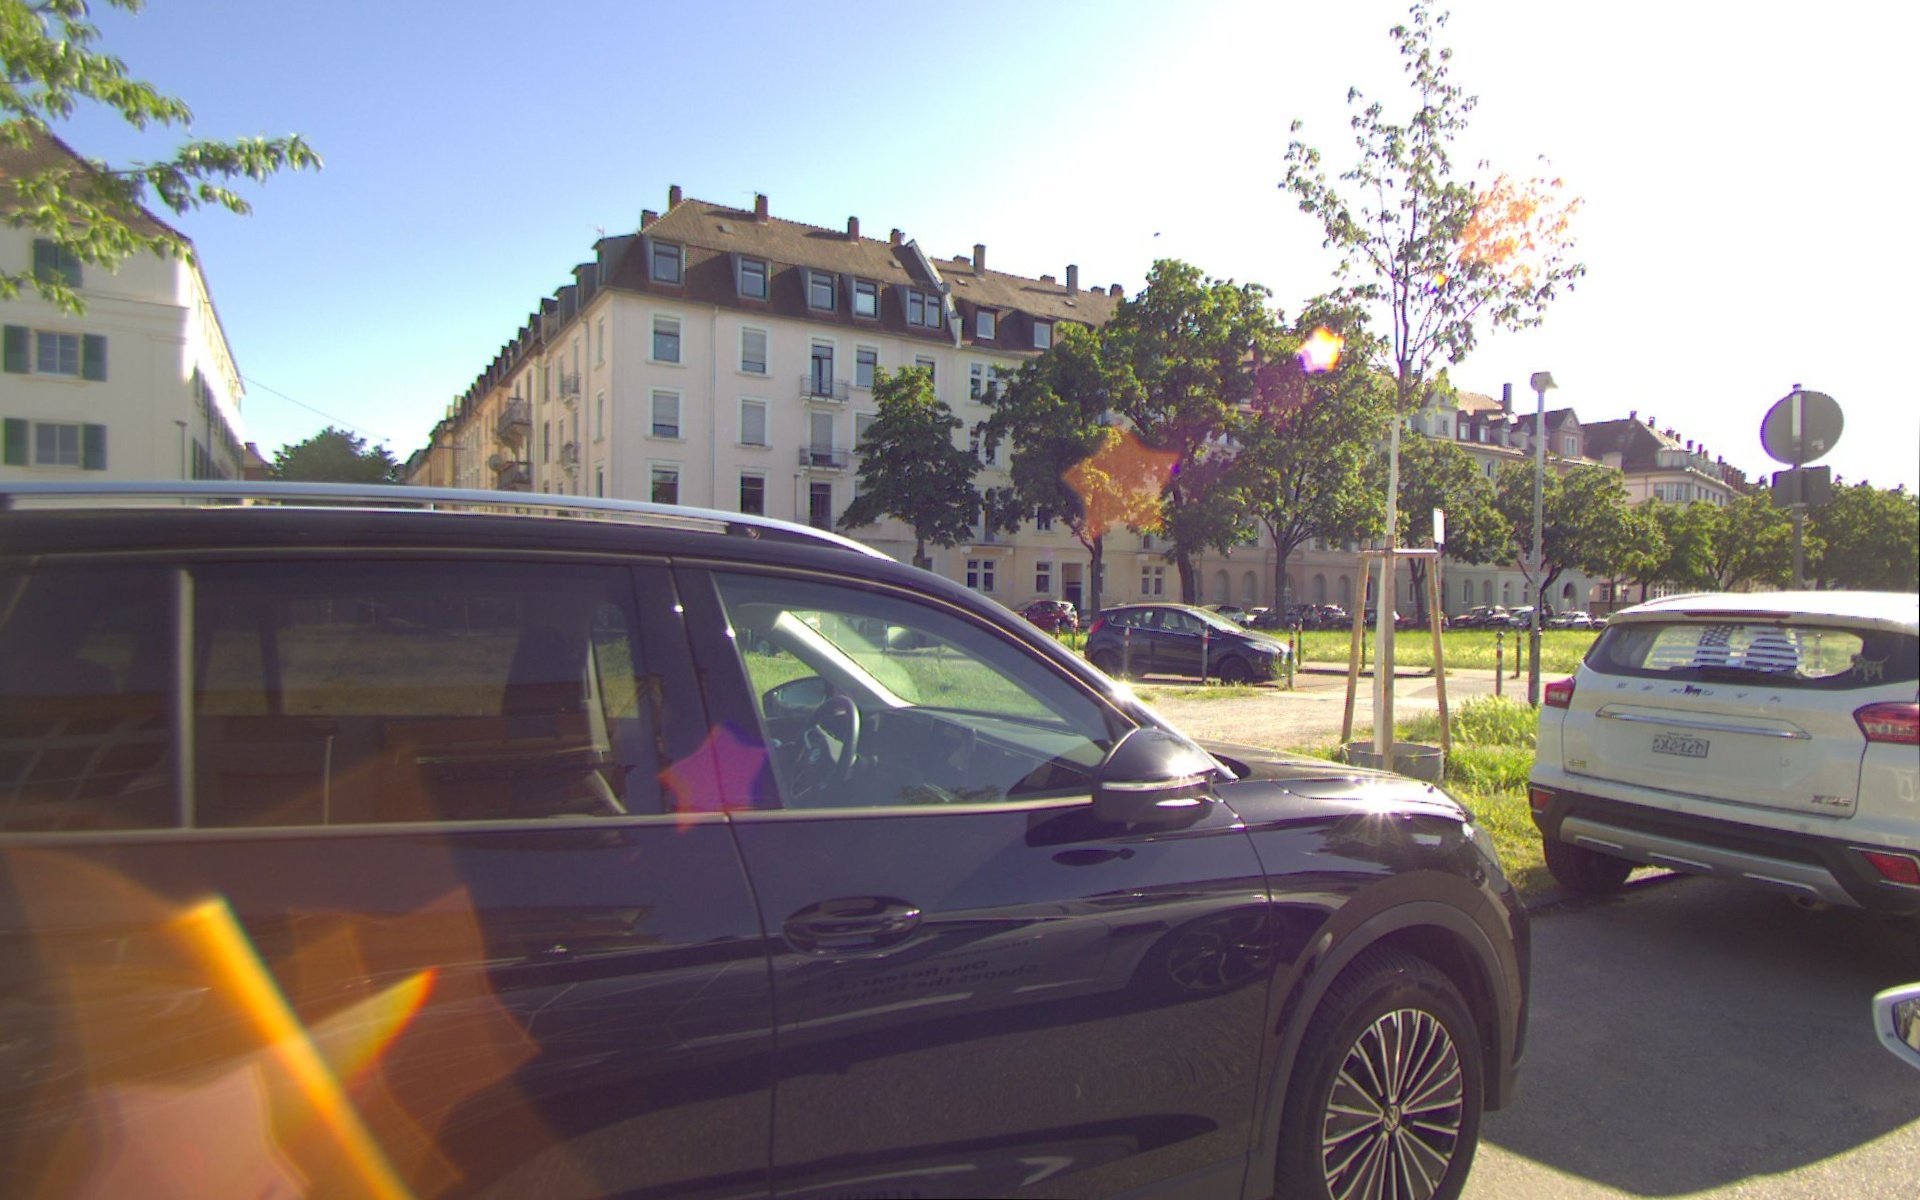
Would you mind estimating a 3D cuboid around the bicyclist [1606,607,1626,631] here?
[{"bbox_3d":[41.662,1.216,63.770,0.932,1.457,0.734,1,1,-31],"label":"bicyclist"}]

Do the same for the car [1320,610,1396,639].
[{"bbox_3d":[22.430,1.365,56.581,4.479,1.570,1.746,1,0,-33],"label":"car"}]

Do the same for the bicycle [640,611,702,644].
[{"bbox_3d":[-11.601,1.110,40.362,2.232,1.279,0.837,1,1,-31],"label":"bicycle"}]

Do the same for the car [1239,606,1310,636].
[{"bbox_3d":[19.108,1.294,60.994,3.950,1.724,1.838,1,0,-28],"label":"car"}]

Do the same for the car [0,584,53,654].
[{"bbox_3d":[-27.355,0.468,26.569,4.653,1.845,2.146,1,0,-32],"label":"car"}]

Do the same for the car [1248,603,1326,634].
[{"bbox_3d":[17.332,0.973,53.202,4.308,1.570,1.622,1,0,-33],"label":"car"}]

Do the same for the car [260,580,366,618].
[{"bbox_3d":[-30.978,-0.032,48.216,4.197,1.724,1.691,1,0,-33],"label":"car"}]

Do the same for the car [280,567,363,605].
[{"bbox_3d":[-45.299,-0.975,71.294,4.906,2.553,1.937,1,0,-35],"label":"car"}]

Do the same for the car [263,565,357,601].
[{"bbox_3d":[-29.908,-0.766,46.249,3.579,1.541,1.692,1,0,-35],"label":"car"}]

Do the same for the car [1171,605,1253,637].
[{"bbox_3d":[12.716,1.056,50.632,4.037,1.547,1.684,1,0,-33],"label":"car"}]

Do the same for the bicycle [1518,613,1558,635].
[{"bbox_3d":[34.466,1.428,59.911,2.602,1.269,0.806,2,0,-29],"label":"bicycle"}]

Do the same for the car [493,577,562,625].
[{"bbox_3d":[-19.634,0.006,45.493,2.118,2.040,4.534,1,1,-33],"label":"car"}]

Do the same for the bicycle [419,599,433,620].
[{"bbox_3d":[-28.139,0.492,52.939,0.524,1.030,1.473,1,1,-33],"label":"bicycle"}]

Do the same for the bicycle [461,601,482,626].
[{"bbox_3d":[-21.703,0.600,44.593,0.651,1.030,1.964,1,1,-32],"label":"bicycle"}]

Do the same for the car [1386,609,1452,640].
[{"bbox_3d":[27.144,1.448,59.391,4.037,1.709,1.622,1,0,-33],"label":"car"}]

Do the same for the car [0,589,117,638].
[{"bbox_3d":[-29.795,0.420,31.474,4.902,1.504,1.983,1,0,-31],"label":"car"}]

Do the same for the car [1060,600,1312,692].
[{"bbox_3d":[4.222,0.784,19.040,4.277,1.428,1.913,1,2,36],"label":"car"}]

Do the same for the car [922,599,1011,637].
[{"bbox_3d":[0.331,0.879,49.885,4.006,1.775,1.984,1,0,-30],"label":"car"}]

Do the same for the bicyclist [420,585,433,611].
[{"bbox_3d":[-28.175,-0.095,53.012,0.528,1.382,0.778,1,1,-33],"label":"bicyclist"}]

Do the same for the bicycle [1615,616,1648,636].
[{"bbox_3d":[44.361,1.705,66.376,2.605,1.269,0.805,1,1,-32],"label":"bicycle"}]

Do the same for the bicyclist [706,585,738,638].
[{"bbox_3d":[-7.735,0.360,32.657,0.866,1.713,0.629,1,0,40],"label":"bicyclist"}]

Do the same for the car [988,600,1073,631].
[{"bbox_3d":[3.139,0.673,44.745,3.488,1.296,1.684,1,0,-33],"label":"car"}]

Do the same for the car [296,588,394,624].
[{"bbox_3d":[-27.233,0.255,44.584,3.626,1.541,1.698,1,0,-32],"label":"car"}]

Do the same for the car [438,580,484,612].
[{"bbox_3d":[-32.852,-0.283,66.071,2.131,2.010,4.865,1,1,-33],"label":"car"}]

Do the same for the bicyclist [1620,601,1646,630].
[{"bbox_3d":[44.482,1.020,66.392,1.433,1.862,0.936,2,-1,-32],"label":"bicyclist"}]

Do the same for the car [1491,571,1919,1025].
[{"bbox_3d":[4.993,0.770,5.455,4.235,1.669,1.748,1,-1,-30],"label":"car"}]

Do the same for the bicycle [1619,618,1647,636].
[{"bbox_3d":[42.146,1.654,62.935,1.934,1.093,0.728,1,1,-32],"label":"bicycle"}]

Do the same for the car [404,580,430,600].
[{"bbox_3d":[-50.508,-0.921,93.371,1.933,1.731,4.130,1,0,-30],"label":"car"}]

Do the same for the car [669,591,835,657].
[{"bbox_3d":[-5.533,0.576,26.517,4.277,1.597,1.922,1,0,36],"label":"car"}]

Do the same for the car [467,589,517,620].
[{"bbox_3d":[-25.372,0.226,54.409,1.918,1.590,3.846,1,1,-34],"label":"car"}]

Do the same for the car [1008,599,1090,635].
[{"bbox_3d":[4.648,0.901,52.440,3.955,1.781,1.853,1,0,-32],"label":"car"}]

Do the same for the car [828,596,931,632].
[{"bbox_3d":[-3.750,0.641,47.154,4.407,1.608,1.981,1,0,-35],"label":"car"}]

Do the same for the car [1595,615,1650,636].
[{"bbox_3d":[47.402,1.828,71.888,3.730,1.459,1.837,1,0,-30],"label":"car"}]

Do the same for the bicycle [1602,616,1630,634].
[{"bbox_3d":[41.590,1.594,63.702,1.934,1.093,0.728,1,1,-32],"label":"bicycle"}]

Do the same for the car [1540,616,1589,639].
[{"bbox_3d":[40.671,1.826,67.623,3.301,1.459,1.374,1,0,-30],"label":"car"}]

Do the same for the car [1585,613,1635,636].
[{"bbox_3d":[52.875,1.978,81.685,3.955,1.772,1.850,1,0,-32],"label":"car"}]

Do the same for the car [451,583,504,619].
[{"bbox_3d":[-28.157,0.007,58.543,1.980,2.000,5.003,1,1,-35],"label":"car"}]

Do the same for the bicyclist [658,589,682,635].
[{"bbox_3d":[-11.643,0.478,40.317,0.792,1.827,0.669,1,1,-31],"label":"bicyclist"}]

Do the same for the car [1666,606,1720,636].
[{"bbox_3d":[56.193,1.625,76.984,4.955,2.243,1.684,1,0,-33],"label":"car"}]

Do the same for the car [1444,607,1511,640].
[{"bbox_3d":[32.241,1.465,62.516,4.413,1.933,1.726,1,0,-33],"label":"car"}]

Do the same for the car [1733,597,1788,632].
[{"bbox_3d":[66.613,1.230,83.567,5.564,2.780,1.904,1,1,-33],"label":"car"}]

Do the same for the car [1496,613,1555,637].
[{"bbox_3d":[36.712,1.619,65.219,3.729,1.448,1.686,1,0,-30],"label":"car"}]

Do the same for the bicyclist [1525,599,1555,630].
[{"bbox_3d":[34.706,0.870,60.061,1.432,1.862,0.937,2,-1,-29],"label":"bicyclist"}]

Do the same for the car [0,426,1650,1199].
[{"bbox_3d":[-0.561,0.678,2.373,4.660,1.660,1.834,1,-1,-30],"label":"car"}]

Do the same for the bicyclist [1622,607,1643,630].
[{"bbox_3d":[42.111,1.160,62.914,0.932,1.456,0.734,2,-1,-31],"label":"bicyclist"}]

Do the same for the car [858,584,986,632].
[{"bbox_3d":[-1.581,0.337,42.303,5.044,1.897,2.069,1,0,-33],"label":"car"}]

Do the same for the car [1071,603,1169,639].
[{"bbox_3d":[7.610,0.973,47.486,4.647,1.582,1.684,1,0,-33],"label":"car"}]
